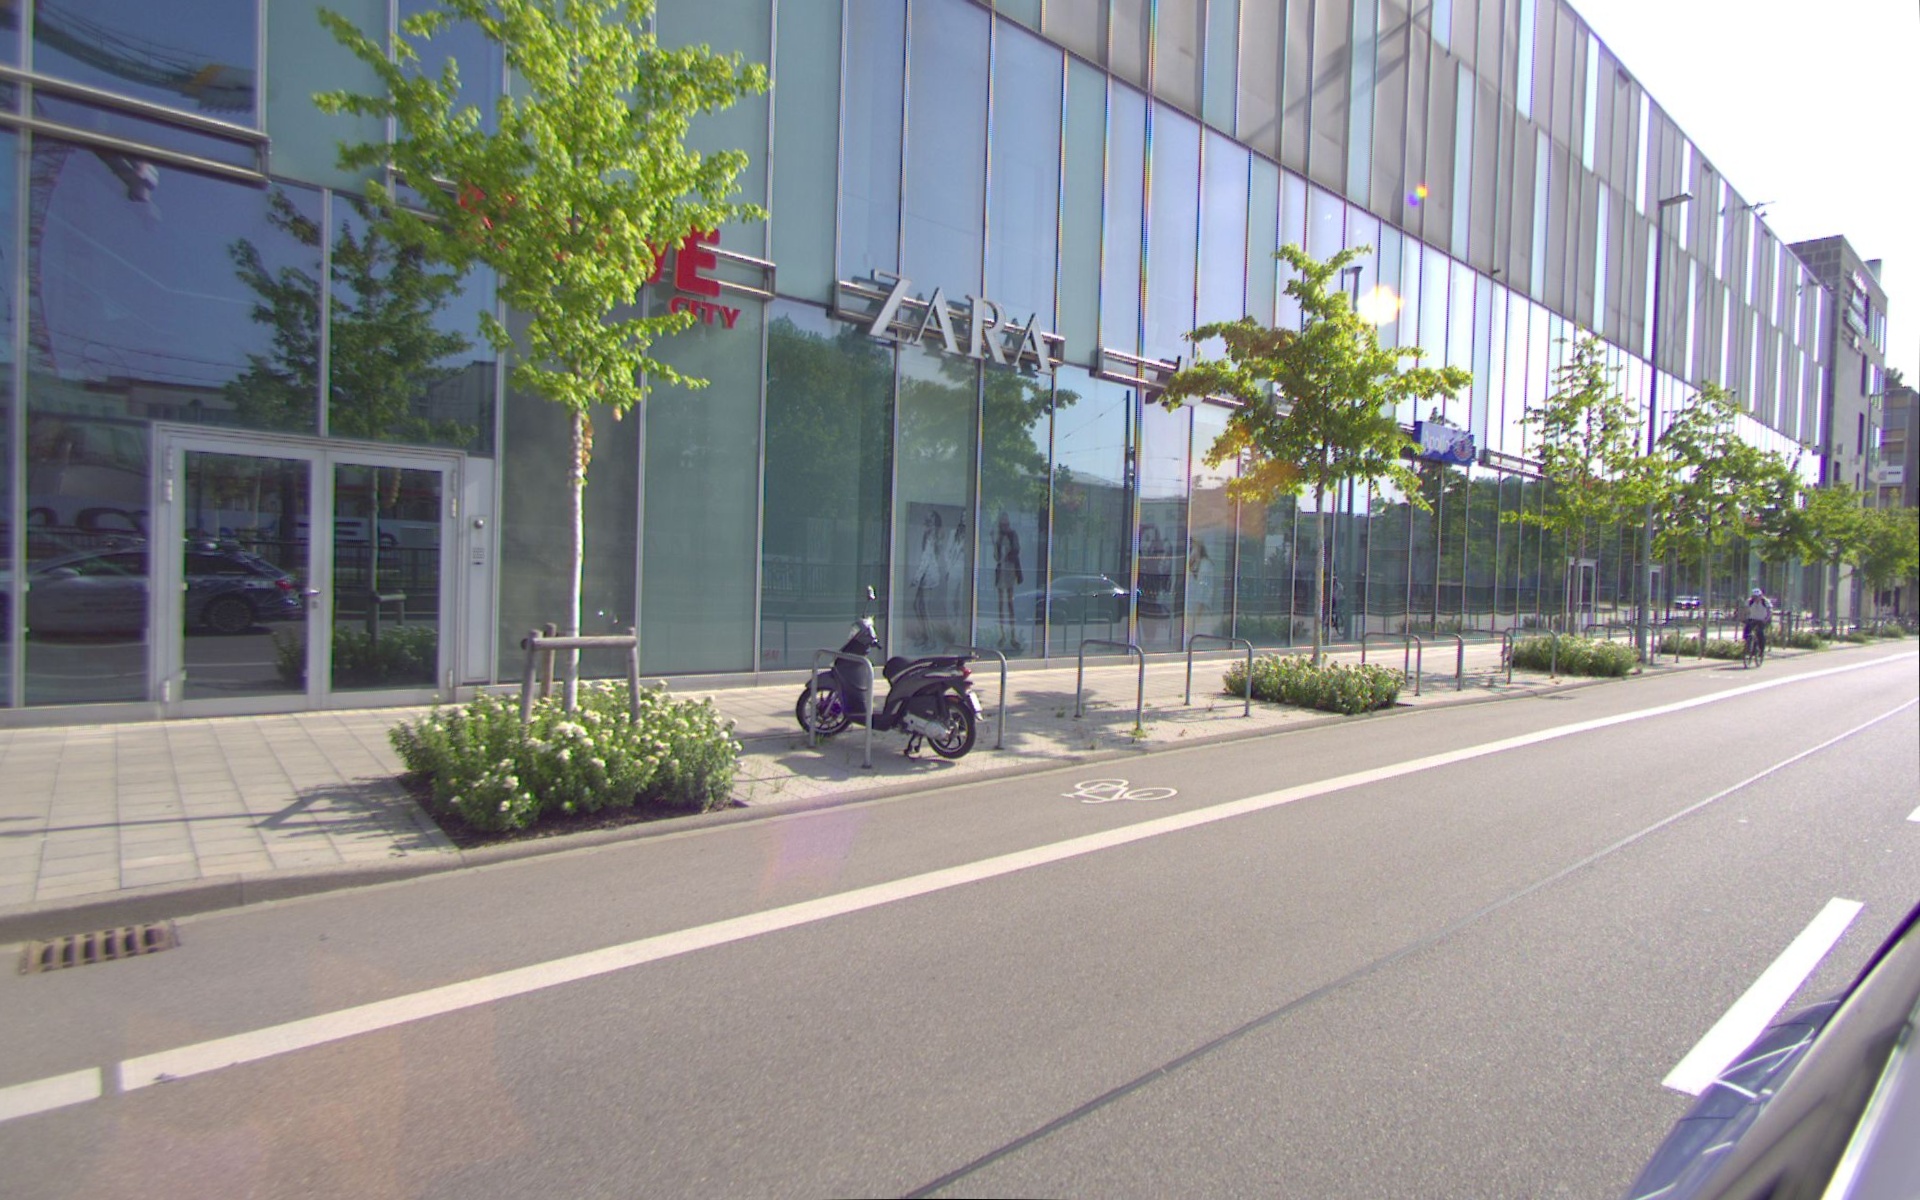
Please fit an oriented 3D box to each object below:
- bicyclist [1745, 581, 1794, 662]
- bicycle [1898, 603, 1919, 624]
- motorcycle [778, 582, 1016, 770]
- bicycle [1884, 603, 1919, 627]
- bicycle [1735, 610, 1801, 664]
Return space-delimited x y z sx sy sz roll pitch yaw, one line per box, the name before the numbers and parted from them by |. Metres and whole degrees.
bicyclist | 18.252 0.476 22.811 0.755 1.770 0.653 1 1 -38
bicycle | 50.746 0.718 53.341 0.674 1.127 1.844 1 0 -38
motorcycle | -0.576 0.565 8.666 1.966 1.366 0.855 3 2 40
bicycle | 47.608 0.776 50.696 0.481 1.123 1.884 1 1 -38
bicycle | 18.182 0.805 22.759 2.013 1.131 0.663 1 1 -38
